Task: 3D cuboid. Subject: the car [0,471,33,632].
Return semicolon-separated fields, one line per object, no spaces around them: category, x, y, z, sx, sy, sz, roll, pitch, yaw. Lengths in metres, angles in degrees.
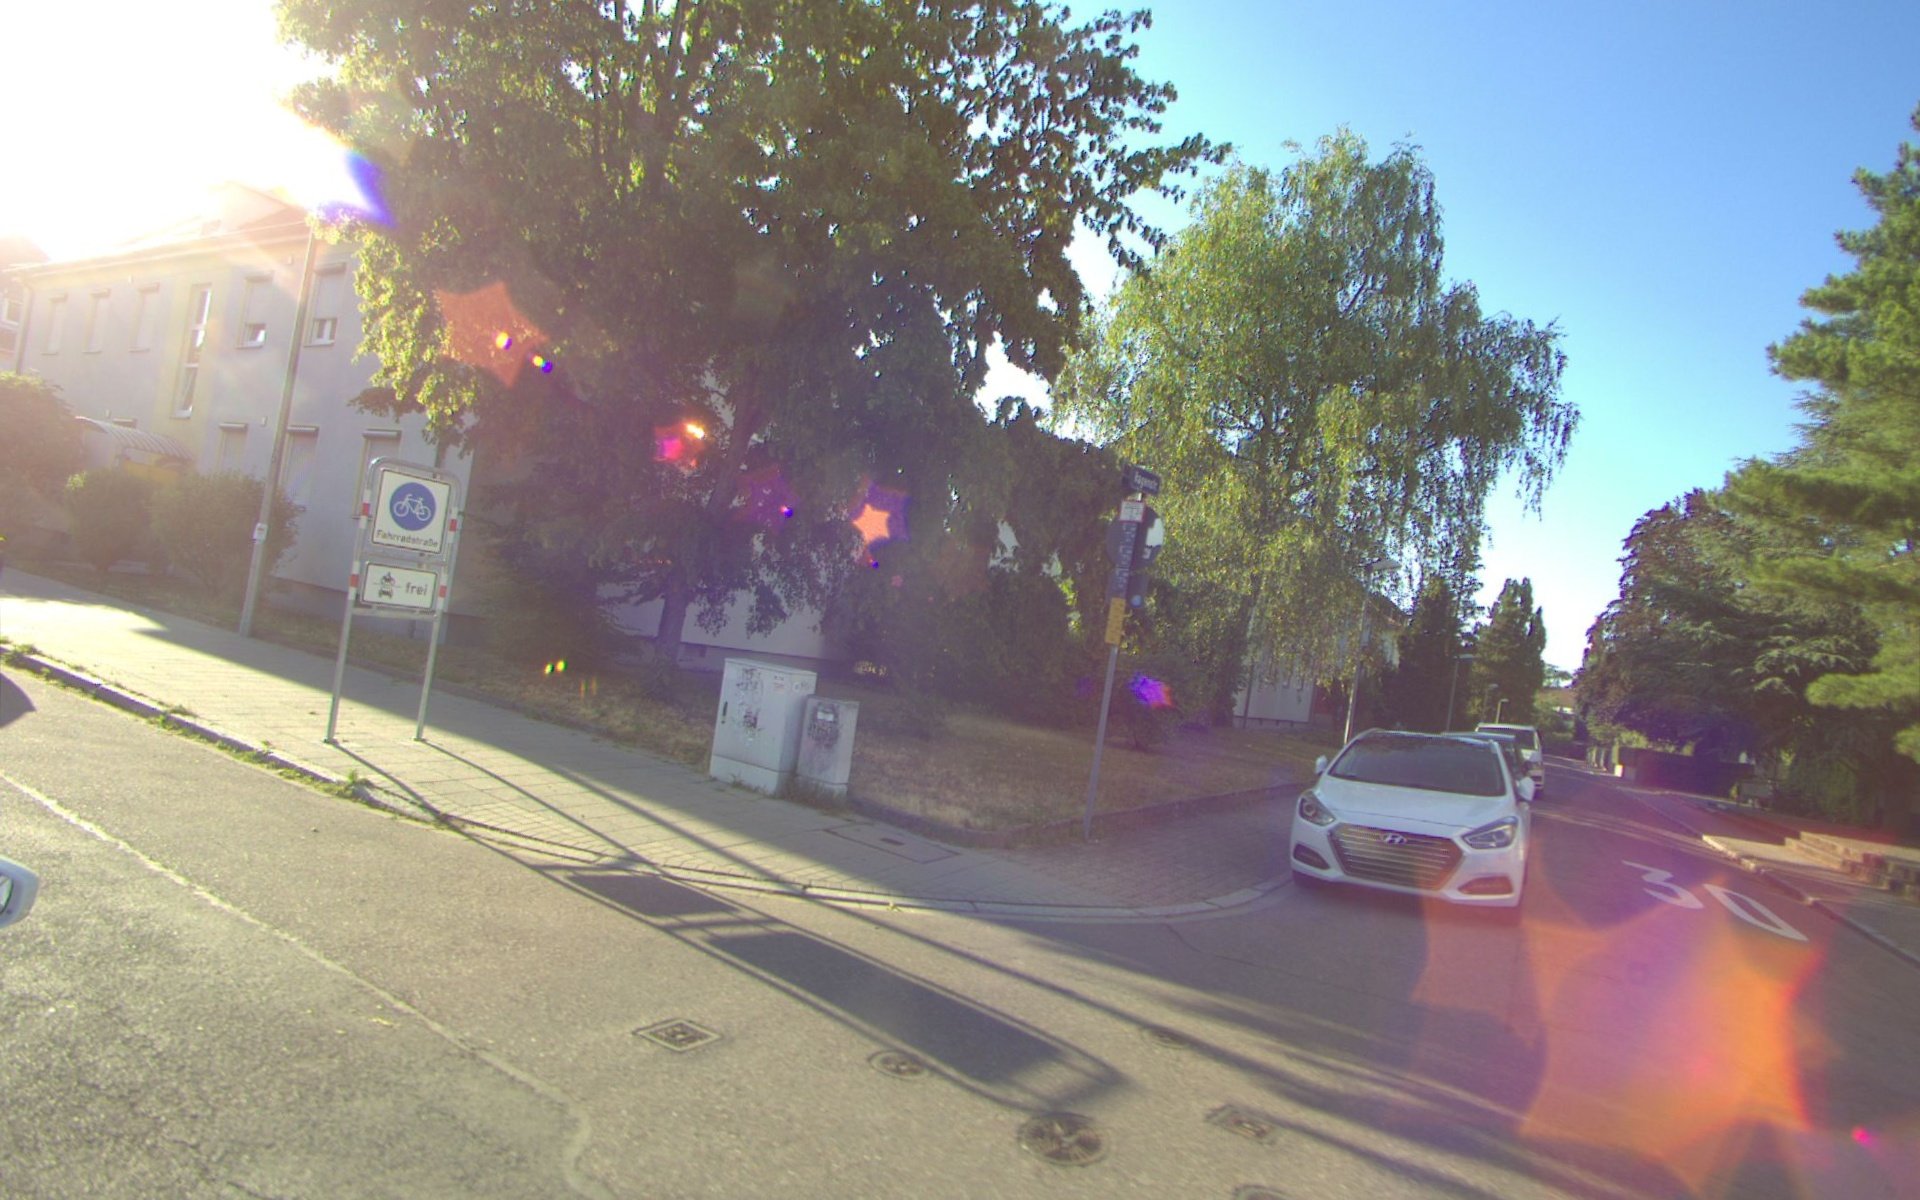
car;-11.441;-0.708;9.948;4.947;1.749;1.839;7;-4;31

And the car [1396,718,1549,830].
car;9.735;3.218;18.931;1.968;1.526;4.125;8;-3;34

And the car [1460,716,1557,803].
car;15.812;4.534;29.222;2.136;1.994;5.019;5;-4;27

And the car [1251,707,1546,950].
car;4.487;1.989;9.771;1.969;1.501;4.861;4;-5;31
